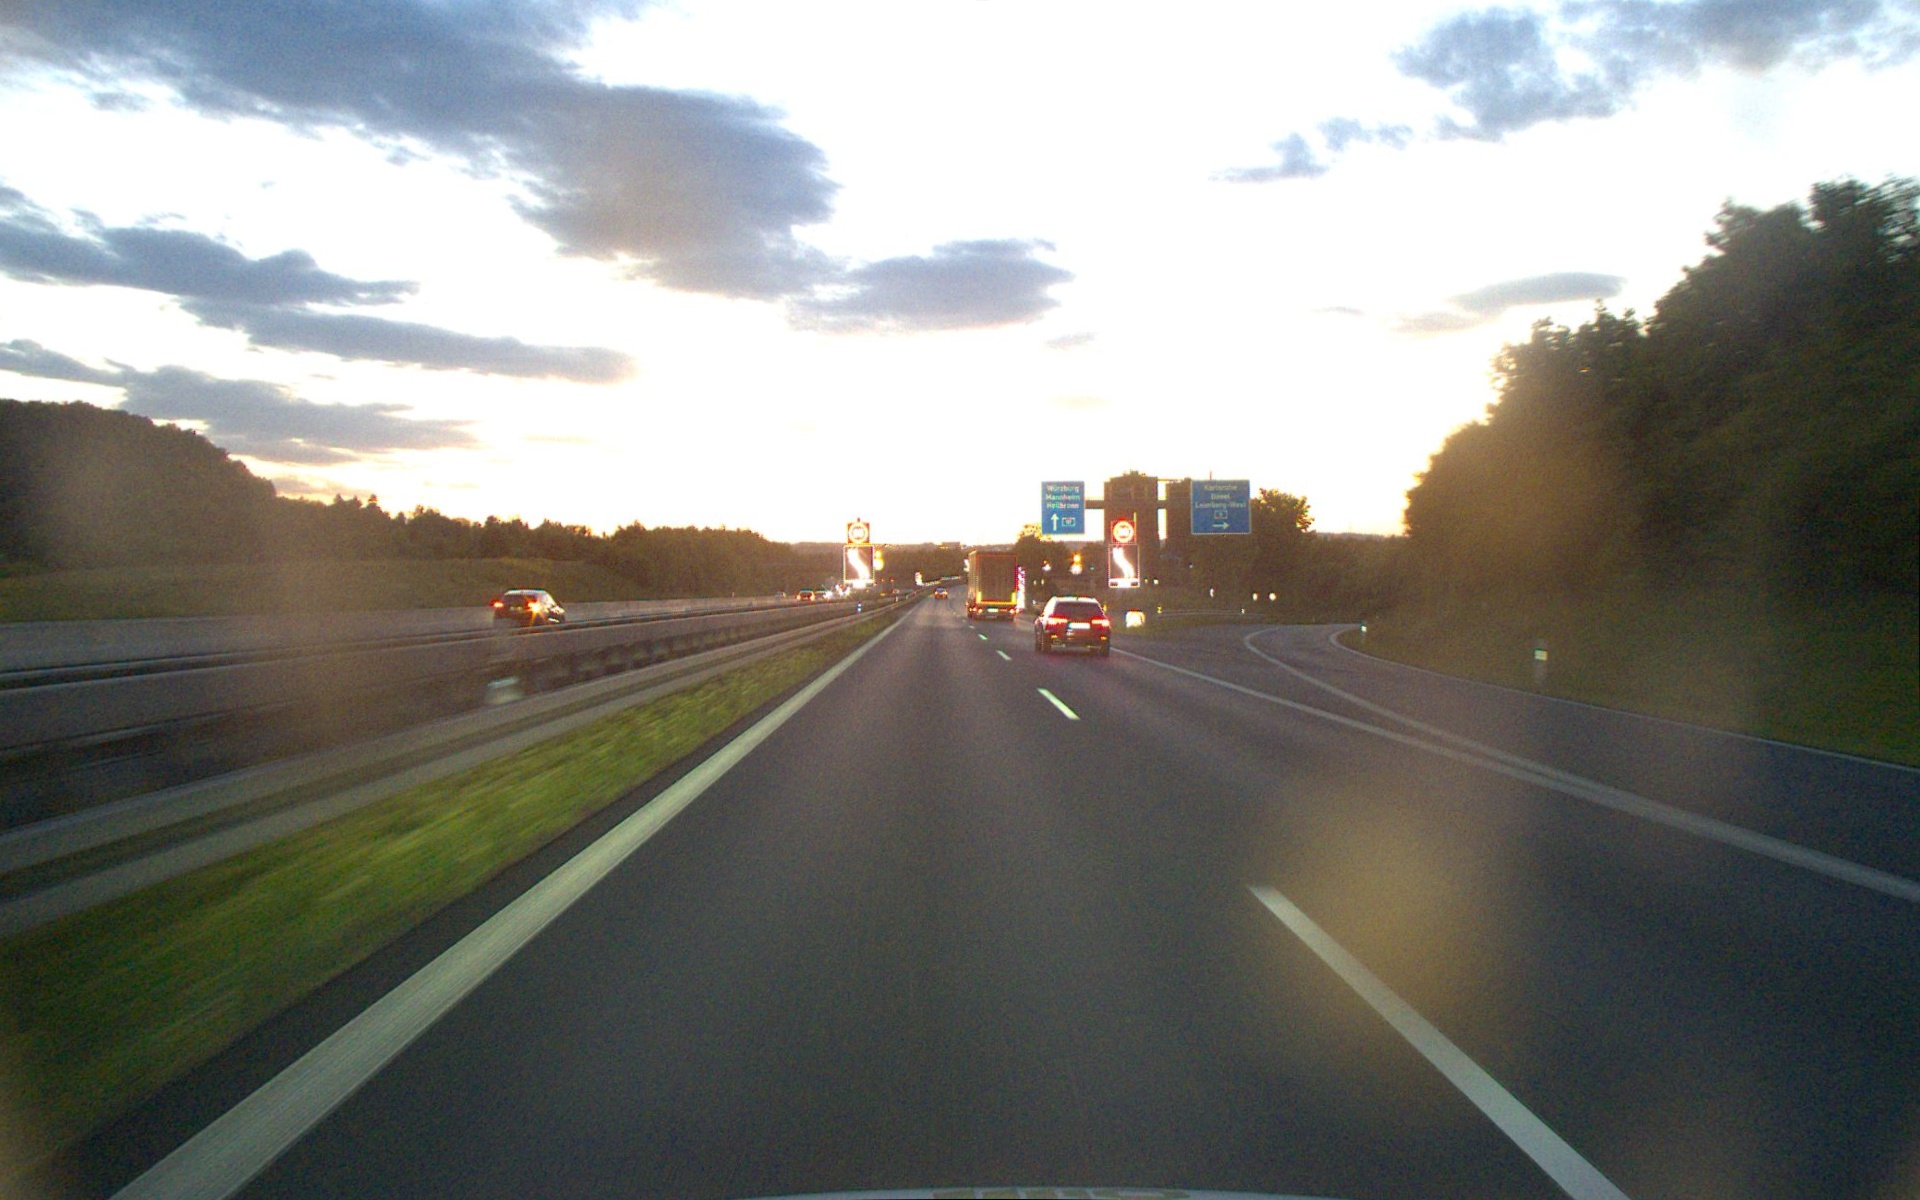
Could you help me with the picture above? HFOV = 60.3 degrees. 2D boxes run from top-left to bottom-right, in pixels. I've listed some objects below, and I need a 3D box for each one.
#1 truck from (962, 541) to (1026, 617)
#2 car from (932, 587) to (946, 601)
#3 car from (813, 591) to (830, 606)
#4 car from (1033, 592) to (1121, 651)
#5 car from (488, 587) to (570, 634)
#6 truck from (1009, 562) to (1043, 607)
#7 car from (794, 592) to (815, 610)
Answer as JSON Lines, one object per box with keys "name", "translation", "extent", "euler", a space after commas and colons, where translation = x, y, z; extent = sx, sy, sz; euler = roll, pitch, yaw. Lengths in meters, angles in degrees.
{"name": "truck", "translation": [1.976, -1.216, 101.519], "extent": [3.439, 4.376, 9.888], "euler": [-1, 0, -1]}
{"name": "car", "translation": [-3.093, -0.899, 244.492], "extent": [1.953, 2.049, 3.999], "euler": [-1, 0, -1]}
{"name": "car", "translation": [-15.517, -0.164, 185.412], "extent": [1.604, 1.573, 3.394], "euler": [-1, 0, -1]}
{"name": "car", "translation": [3.030, 0.538, 43.697], "extent": [1.876, 1.467, 3.998], "euler": [-1, 0, -2]}
{"name": "car", "translation": [-15.462, 0.348, 59.566], "extent": [1.834, 1.588, 4.519], "euler": [-1, 0, -1]}
{"name": "truck", "translation": [6.120, -1.423, 153.997], "extent": [2.731, 4.129, 6.410], "euler": [0, 0, -1]}
{"name": "car", "translation": [-14.616, 0.052, 155.643], "extent": [1.678, 1.634, 3.721], "euler": [-1, 0, -1]}
